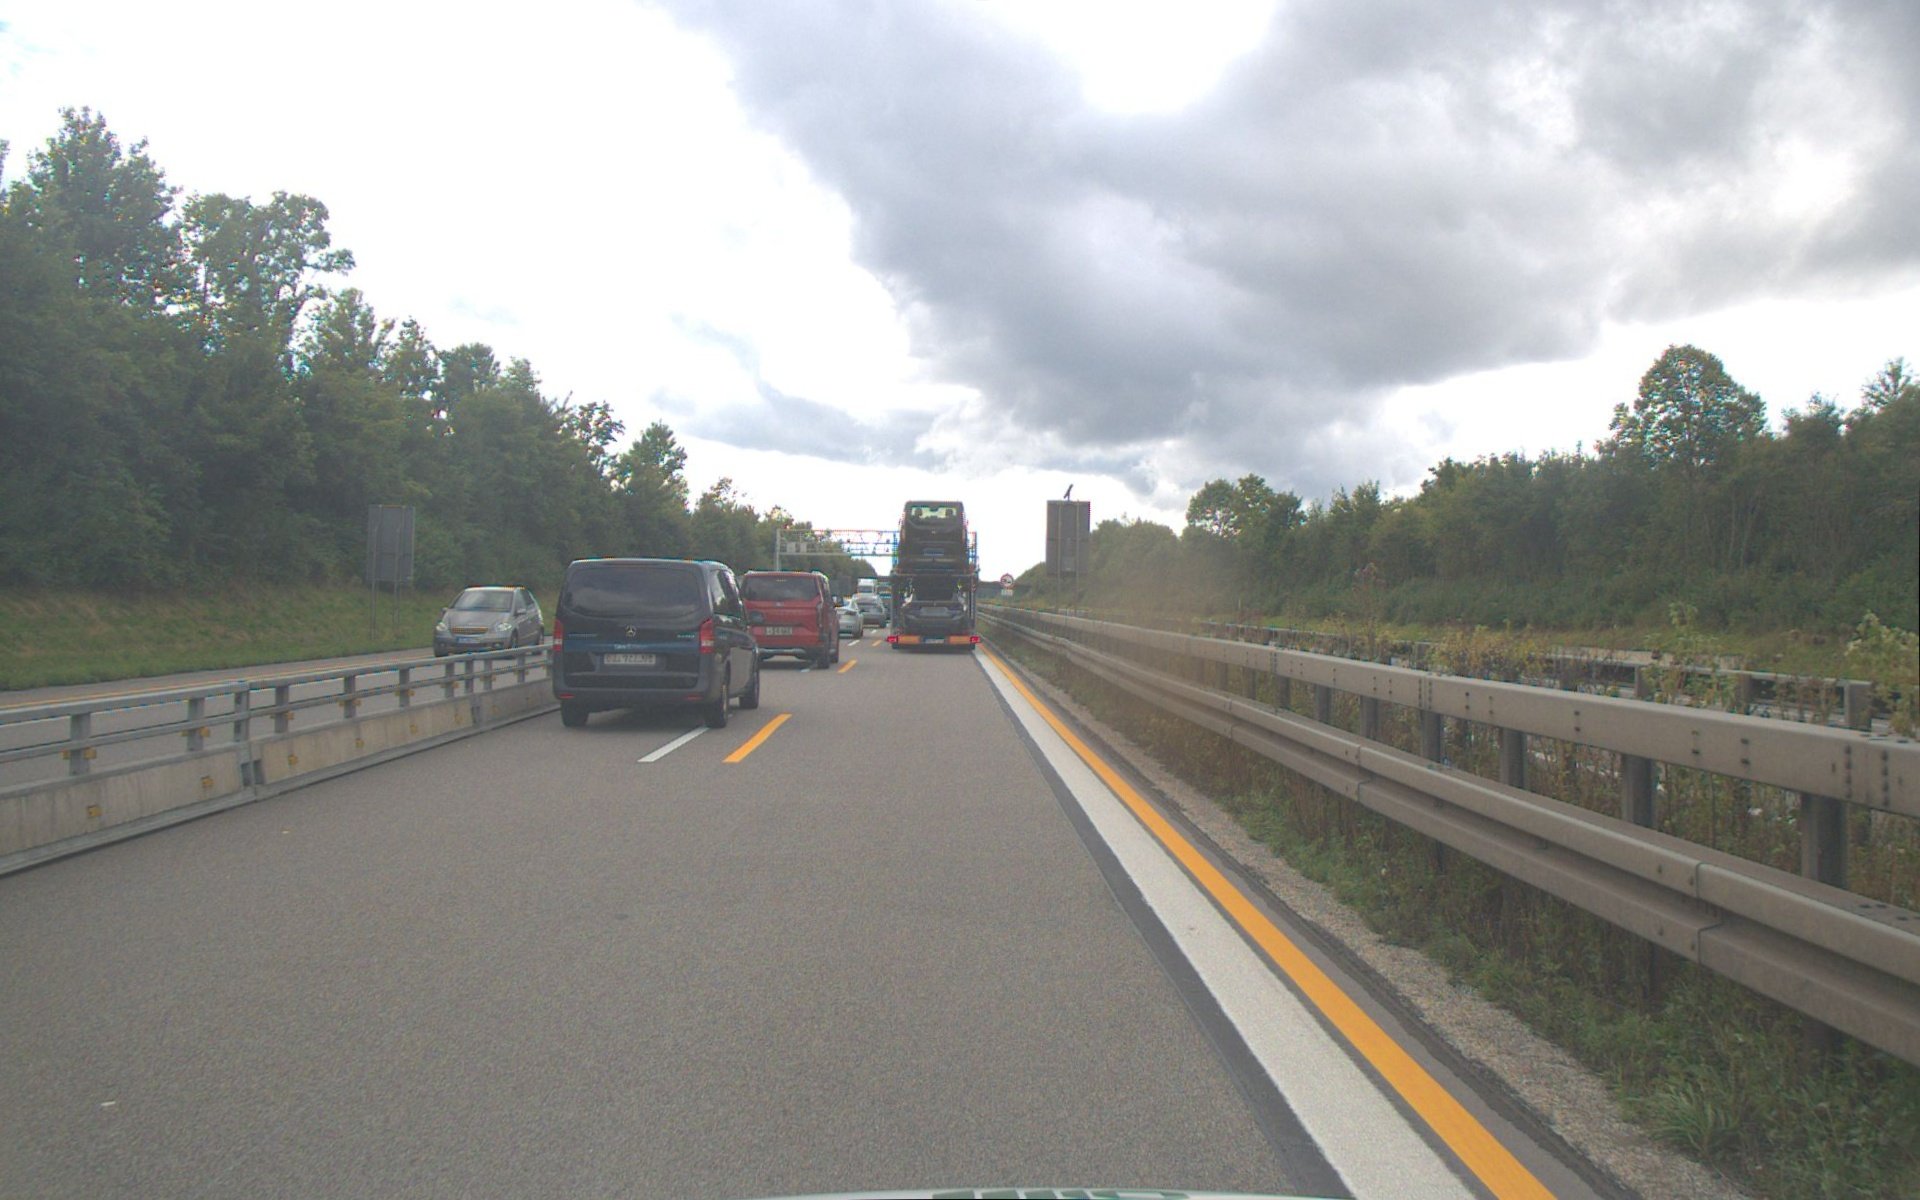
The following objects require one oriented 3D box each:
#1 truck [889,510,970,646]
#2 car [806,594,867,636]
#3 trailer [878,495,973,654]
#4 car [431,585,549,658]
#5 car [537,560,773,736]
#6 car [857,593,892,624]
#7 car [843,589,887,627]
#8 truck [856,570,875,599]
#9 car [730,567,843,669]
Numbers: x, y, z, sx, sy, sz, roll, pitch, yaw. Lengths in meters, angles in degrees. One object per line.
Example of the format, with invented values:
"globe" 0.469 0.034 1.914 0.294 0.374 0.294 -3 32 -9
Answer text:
"truck" -0.967 -0.681 53.987 2.464 4.177 5.684 1 0 0
"car" -4.443 0.533 60.258 1.990 1.456 4.576 0 0 -2
"trailer" -0.938 -0.678 49.232 2.464 4.177 11.112 1 0 0
"car" -10.732 0.465 38.033 1.647 1.577 3.949 0 0 -1
"car" -3.562 0.508 20.427 1.953 1.875 5.608 0 0 -1
"car" -5.012 0.467 97.449 1.990 1.788 4.576 0 0 -2
"car" -4.554 0.357 80.187 1.990 1.788 4.576 0 0 -2
"truck" -14.095 -2.282 248.021 2.546 4.227 5.619 1 0 -1
"car" -3.641 0.358 35.464 1.990 2.049 4.577 0 0 -1
